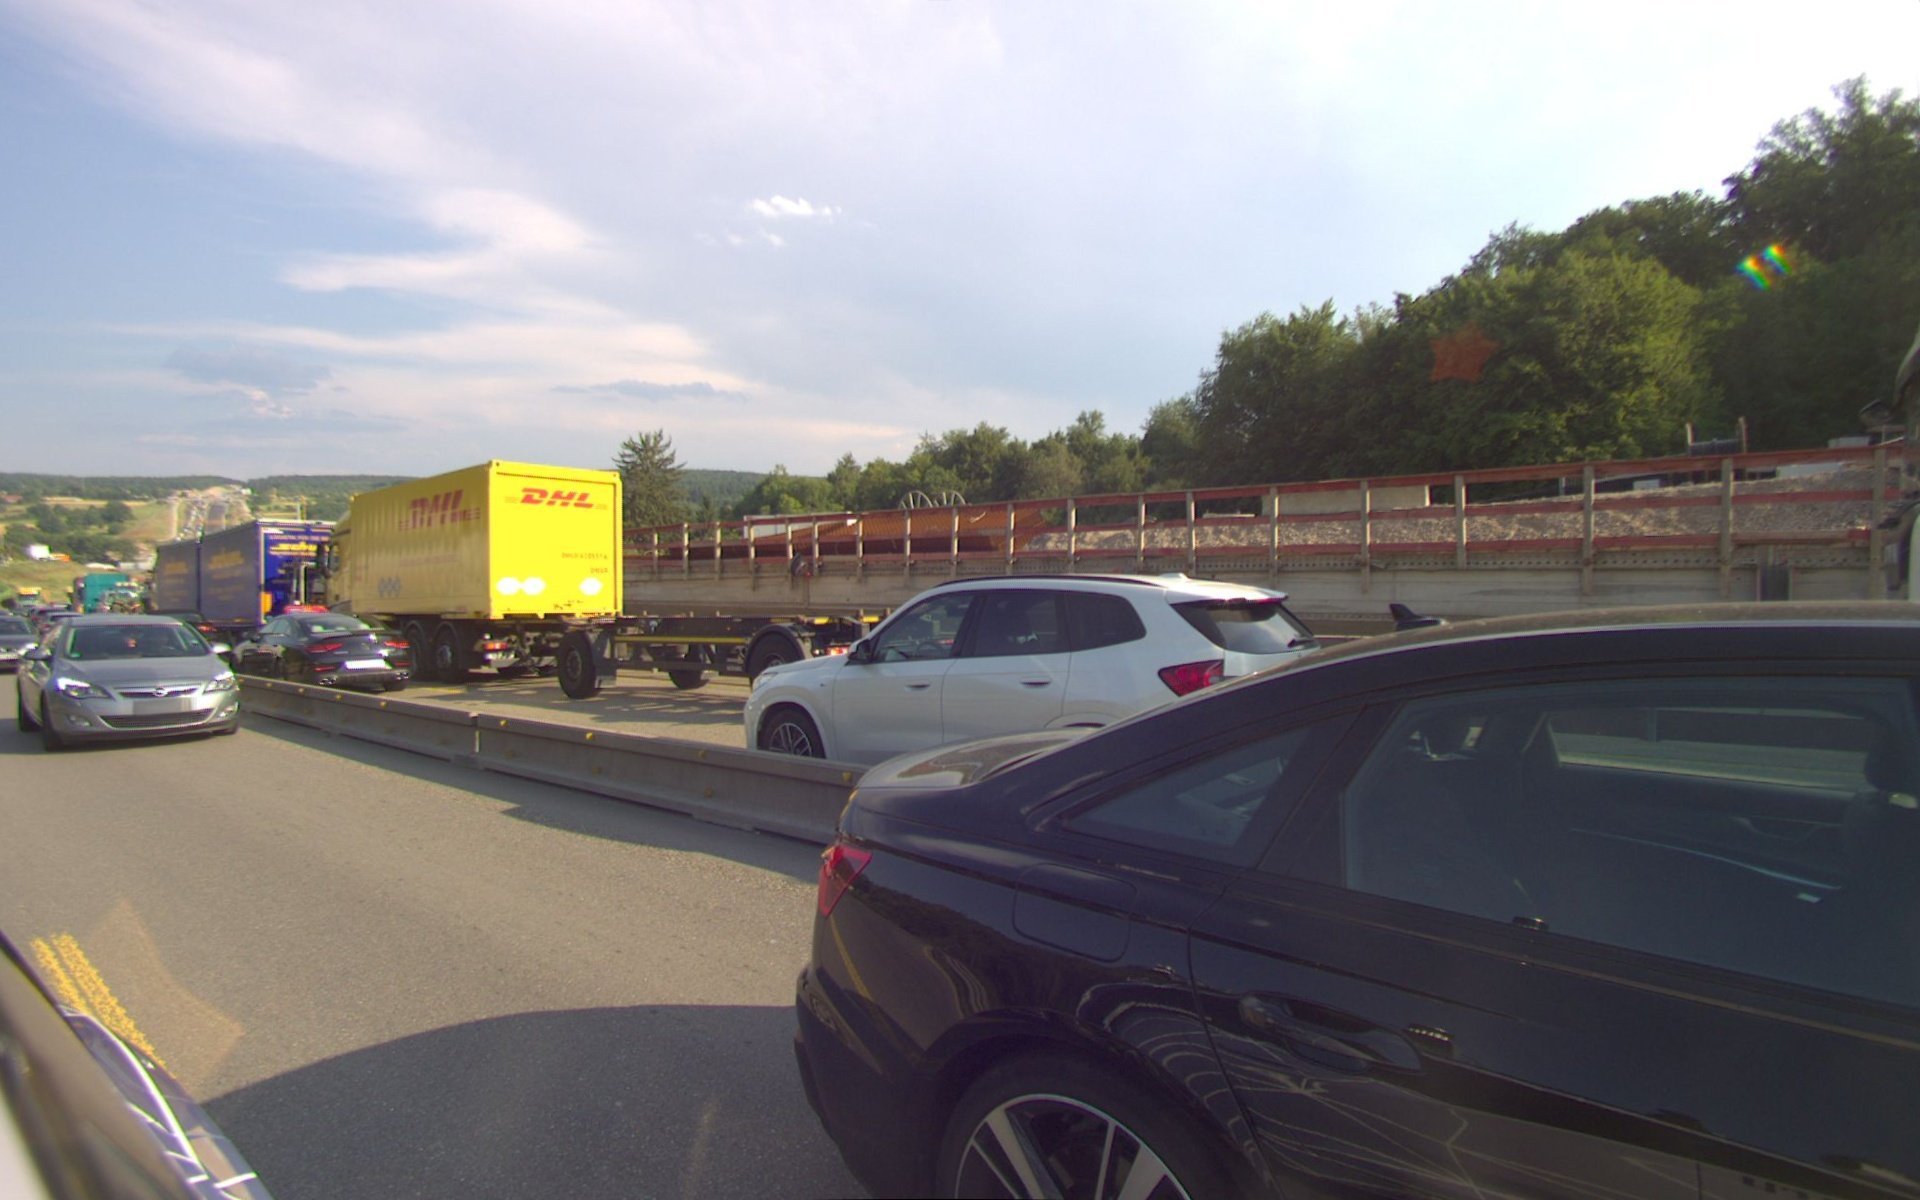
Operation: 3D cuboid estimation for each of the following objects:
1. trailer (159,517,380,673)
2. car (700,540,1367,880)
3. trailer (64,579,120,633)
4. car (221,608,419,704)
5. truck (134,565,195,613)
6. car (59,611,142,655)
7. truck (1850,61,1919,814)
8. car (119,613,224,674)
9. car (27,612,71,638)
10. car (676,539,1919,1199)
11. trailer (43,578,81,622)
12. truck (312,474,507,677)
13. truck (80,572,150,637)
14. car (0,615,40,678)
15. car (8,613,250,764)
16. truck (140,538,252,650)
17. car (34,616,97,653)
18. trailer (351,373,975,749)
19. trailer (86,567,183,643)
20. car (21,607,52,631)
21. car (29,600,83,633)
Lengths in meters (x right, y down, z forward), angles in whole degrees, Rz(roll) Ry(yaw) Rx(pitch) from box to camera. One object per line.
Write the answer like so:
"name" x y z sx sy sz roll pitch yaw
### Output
"trailer" -23.629 -0.167 33.858 16.756 4.166 2.684 0 0 44
"car" 0.247 0.552 7.163 4.558 1.660 1.826 0 -1 42
"trailer" -72.163 0.519 84.039 2.683 4.154 12.502 2 -1 -44
"car" -11.378 0.880 17.829 4.902 1.412 1.721 0 0 42
"truck" -74.727 -0.932 94.911 3.122 4.154 12.502 2 -1 -44
"car" -31.509 1.160 37.056 4.616 1.464 1.777 0 0 43
"truck" 11.130 -0.928 2.056 13.884 4.000 2.780 -1 0 41
"car" -22.330 1.166 28.595 4.292 1.519 1.697 0 0 43
"car" -62.783 1.712 69.707 4.850 1.657 1.937 0 0 44
"car" 1.923 0.707 1.180 5.222 1.491 1.919 0 -1 43
"trailer" -95.637 -0.030 107.777 2.876 4.499 7.160 -1 0 -43
"truck" -12.888 -0.519 23.611 4.397 4.228 2.665 0 0 42
"truck" -53.200 0.320 63.682 2.717 3.834 7.116 2 -2 -45
"car" -24.223 1.139 25.251 1.797 1.452 4.004 -2 1 -43
"car" -10.195 0.915 12.299 4.119 1.498 1.786 0 0 44
"truck" -30.727 -0.219 40.647 5.796 4.172 2.671 0 0 44
"car" -40.590 1.527 45.882 4.726 1.509 1.768 0 0 44
"trailer" -6.585 -0.476 17.816 15.996 4.235 2.672 0 0 43
"trailer" -47.553 0.295 58.010 2.717 3.845 16.056 2 -1 -45
"car" -83.654 1.697 91.641 1.802 1.948 5.134 4 -2 -44
"car" -50.598 0.901 56.600 4.693 1.714 1.905 0 0 44
